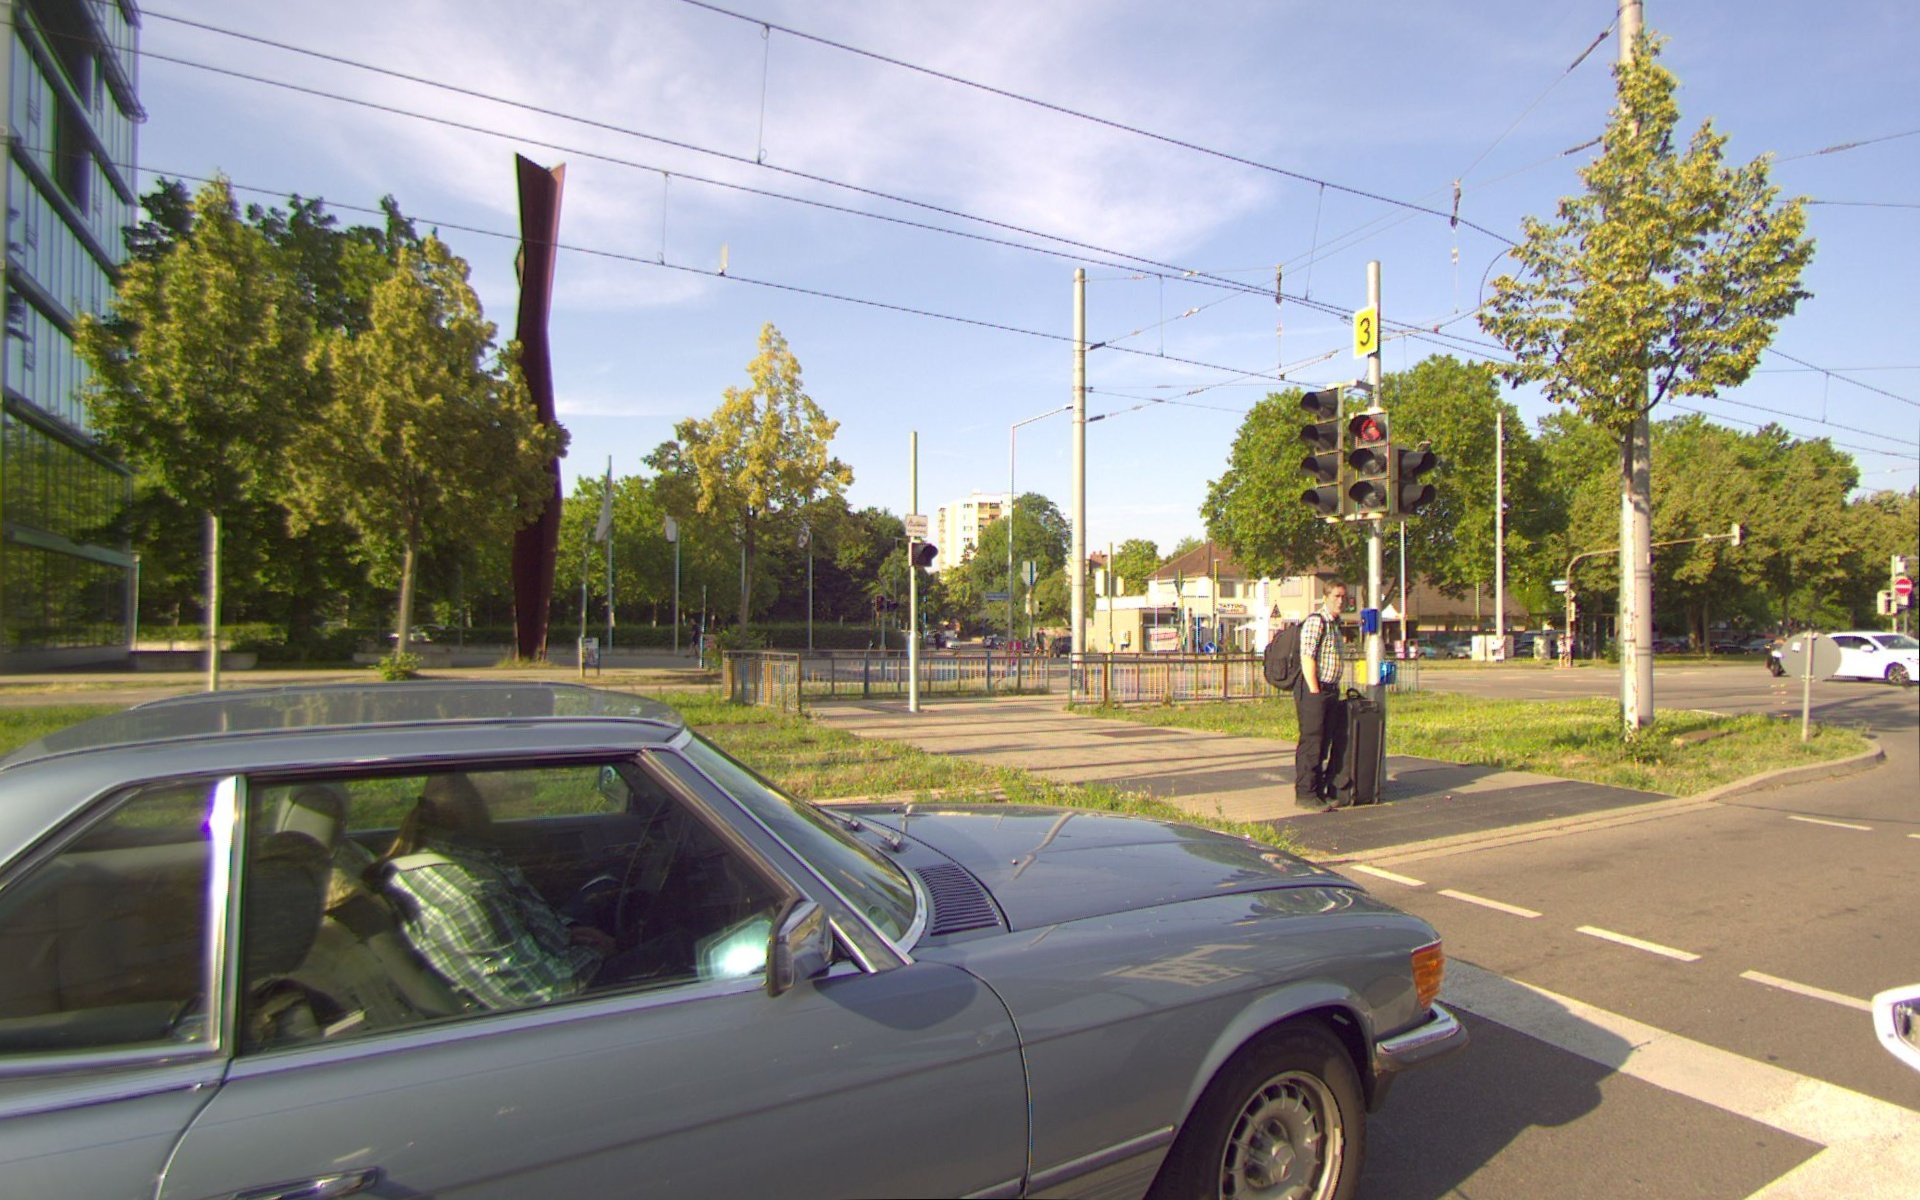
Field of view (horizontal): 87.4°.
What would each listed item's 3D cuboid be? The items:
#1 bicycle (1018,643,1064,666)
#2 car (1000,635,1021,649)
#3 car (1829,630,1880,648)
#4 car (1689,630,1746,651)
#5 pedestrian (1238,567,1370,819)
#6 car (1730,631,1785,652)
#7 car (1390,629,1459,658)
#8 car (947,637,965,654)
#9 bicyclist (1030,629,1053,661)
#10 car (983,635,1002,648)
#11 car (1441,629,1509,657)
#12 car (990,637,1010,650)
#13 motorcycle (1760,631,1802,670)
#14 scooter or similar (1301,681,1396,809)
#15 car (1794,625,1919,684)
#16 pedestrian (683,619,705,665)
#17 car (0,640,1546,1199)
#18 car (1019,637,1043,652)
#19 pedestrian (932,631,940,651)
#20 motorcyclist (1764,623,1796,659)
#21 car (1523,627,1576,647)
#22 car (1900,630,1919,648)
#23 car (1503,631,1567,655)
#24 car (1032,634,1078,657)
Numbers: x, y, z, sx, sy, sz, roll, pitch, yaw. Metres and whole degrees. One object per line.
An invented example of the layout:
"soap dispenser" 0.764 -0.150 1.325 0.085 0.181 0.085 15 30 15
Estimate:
"bicycle" 3.844 2.590 47.728 2.168 1.055 0.697 -1 -2 38
"car" 5.575 4.693 111.824 1.667 1.491 3.941 0 -2 -8
"car" 76.684 3.341 86.089 3.945 1.580 1.876 1 -2 -25
"car" 58.616 3.163 77.726 3.945 1.580 1.876 1 -2 -25
"pedestrian" 2.626 0.672 7.692 0.628 1.816 0.696 1 0 -29
"car" 63.600 3.310 80.083 3.945 1.580 1.876 1 -2 -25
"car" 29.205 2.709 63.131 3.945 1.773 1.876 1 -2 -25
"car" -0.428 5.127 113.601 1.961 1.806 4.000 0 -2 -1
"bicyclist" 3.859 2.128 47.731 0.836 1.512 0.697 -1 -2 38
"car" 3.955 5.056 123.442 1.667 1.491 3.941 0 -2 -8
"car" 33.430 2.761 65.206 3.945 1.773 1.876 1 -2 -25
"car" 4.662 5.097 117.653 1.667 1.491 3.941 0 -2 -8
"motorcycle" 29.272 1.777 35.817 2.530 1.280 0.811 1 0 -43
"scooter or similar" 3.074 1.130 7.966 0.424 0.919 0.546 1 0 -29
"car" 27.026 1.560 29.307 1.961 1.524 4.092 1 0 -1
"pedestrian" -12.557 1.985 47.410 0.864 2.135 0.724 -1 -3 -1
"car" -0.809 0.823 2.201 4.349 1.348 1.754 1 0 -31
"car" 7.048 4.446 100.311 1.667 1.491 3.941 0 -2 -8
"pedestrian" -1.995 3.443 83.579 0.654 1.654 0.664 0 -1 -2
"motorcyclist" 29.231 1.461 35.802 0.841 1.219 0.775 0 1 -43
"car" 47.868 3.034 81.572 3.945 1.580 1.876 1 -2 -25
"car" 87.797 3.566 91.467 3.945 1.580 1.876 1 -2 -25
"car" 38.817 2.923 67.821 3.945 1.580 1.876 1 -2 -25
"car" 7.449 3.552 79.239 1.971 1.750 3.979 1 -2 -22
